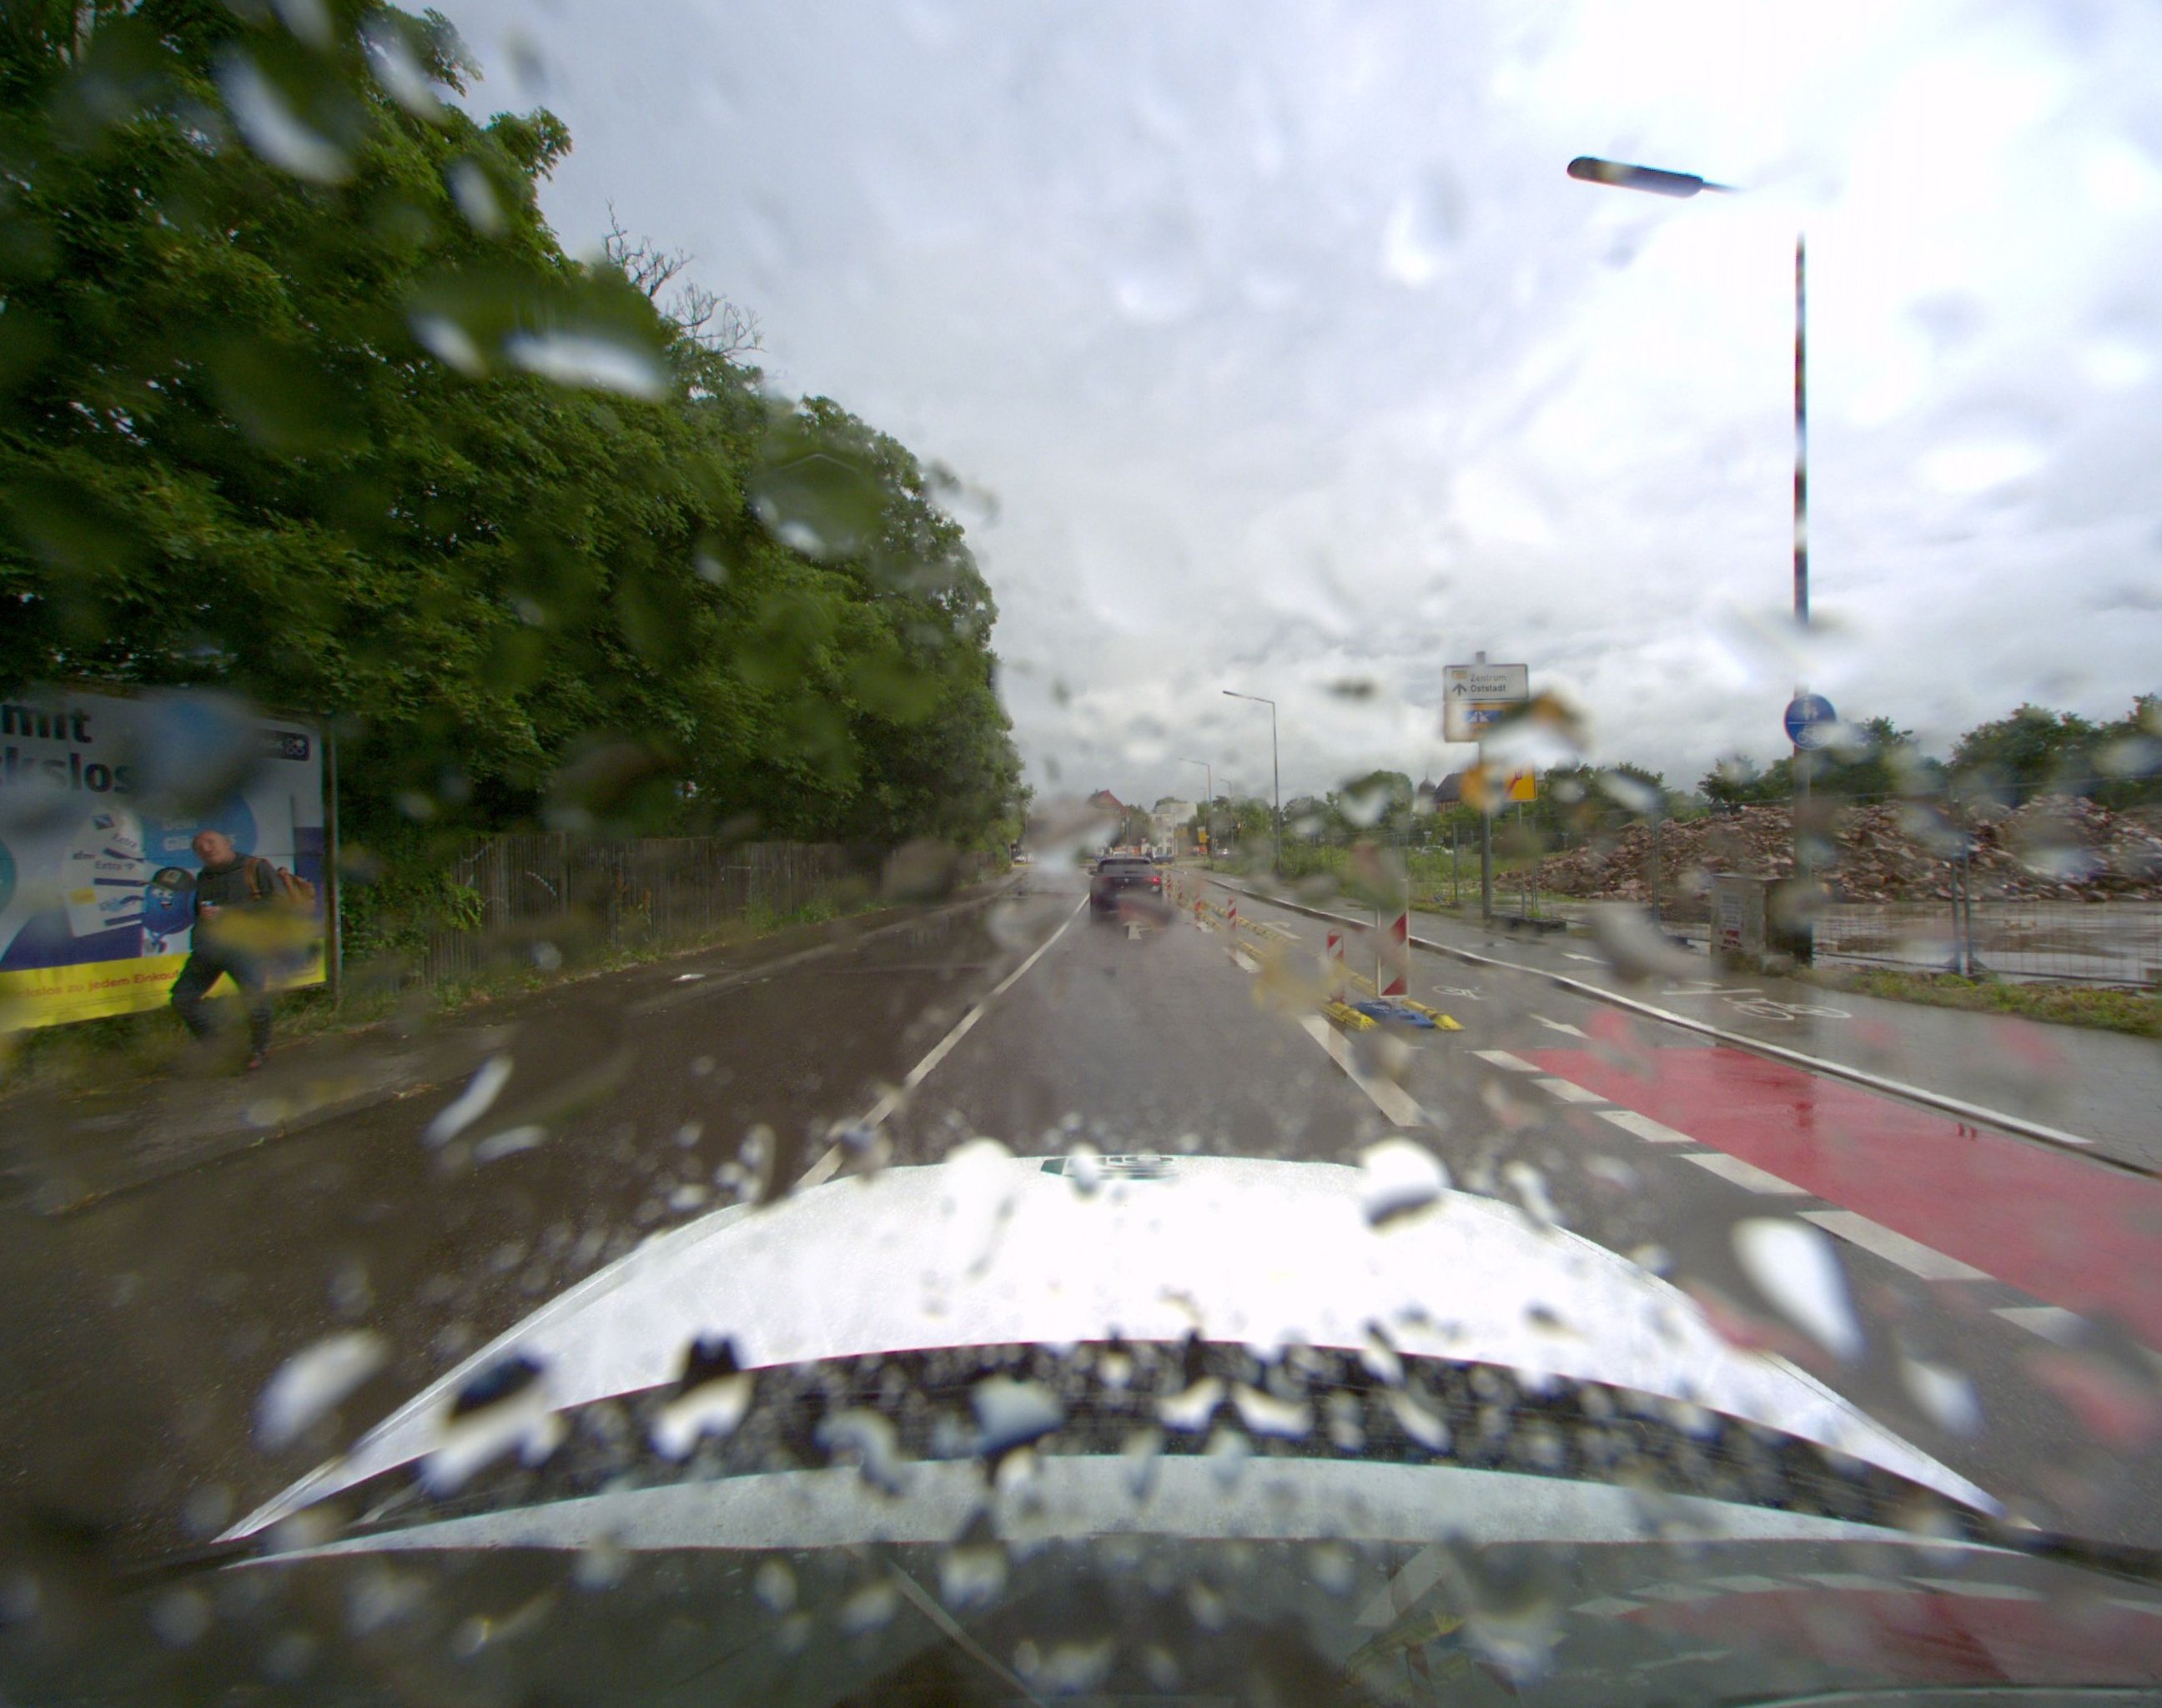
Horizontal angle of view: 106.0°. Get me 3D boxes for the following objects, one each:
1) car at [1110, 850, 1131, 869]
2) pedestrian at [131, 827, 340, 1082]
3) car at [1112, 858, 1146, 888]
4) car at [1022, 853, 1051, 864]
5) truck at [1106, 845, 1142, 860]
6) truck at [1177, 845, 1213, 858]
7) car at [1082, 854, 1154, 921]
[{"bbox_3d":[3.887,0.492,81.165,1.858,1.809,4.403,-1,0,0],"label":"car"},{"bbox_3d":[-6.255,0.708,6.060,0.835,1.769,0.645,-2,0,2],"label":"pedestrian"},{"bbox_3d":[2.617,1.015,44.973,1.729,1.514,3.604,-1,0,1],"label":"car"},{"bbox_3d":[-8.463,0.921,155.232,5.156,1.876,1.873,-2,0,-37],"label":"car"},{"bbox_3d":[8.524,-0.297,161.233,7.034,2.650,2.332,-1,0,4],"label":"truck"},{"bbox_3d":[23.232,-0.514,165.794,6.640,2.442,2.448,-2,0,25],"label":"truck"},{"bbox_3d":[0.881,0.807,21.191,1.703,1.574,3.682,-1,0,0],"label":"car"}]
